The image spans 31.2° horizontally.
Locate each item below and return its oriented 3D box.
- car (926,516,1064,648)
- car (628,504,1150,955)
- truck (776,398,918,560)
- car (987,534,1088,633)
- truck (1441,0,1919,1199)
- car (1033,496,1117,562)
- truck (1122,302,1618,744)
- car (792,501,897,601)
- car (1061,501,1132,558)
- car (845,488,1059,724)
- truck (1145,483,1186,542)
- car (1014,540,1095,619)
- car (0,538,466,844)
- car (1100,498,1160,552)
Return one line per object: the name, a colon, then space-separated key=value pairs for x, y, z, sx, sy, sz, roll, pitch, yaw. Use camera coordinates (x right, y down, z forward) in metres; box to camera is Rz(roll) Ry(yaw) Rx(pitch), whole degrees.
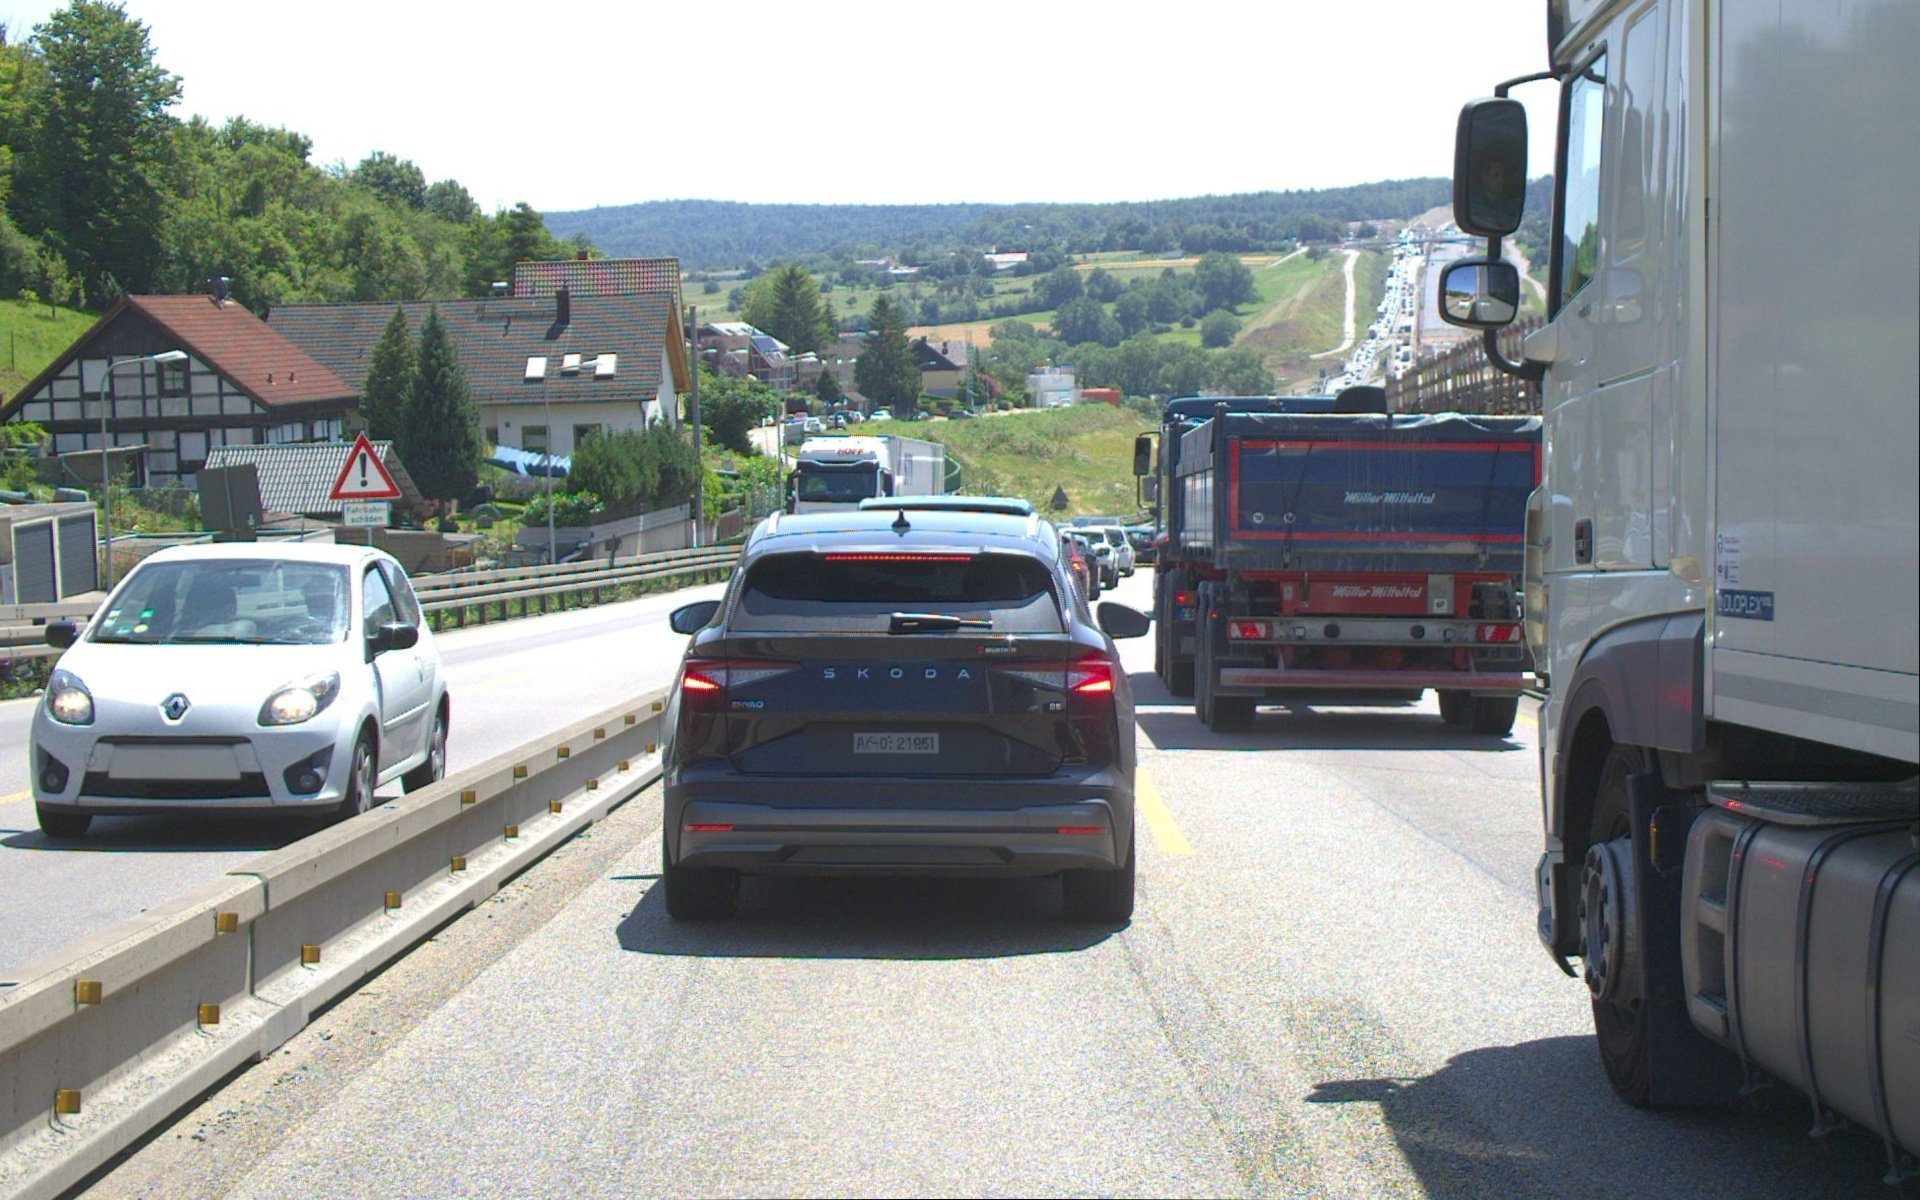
car: x=0.436 y=-0.284 z=46.335 sx=1.707 sy=1.616 sz=4.001 roll=1 pitch=2 yaw=-1
car: x=-0.294 y=0.446 z=14.307 sx=1.842 sy=1.581 sz=3.908 roll=1 pitch=1 yaw=-1
truck: x=-3.160 y=-3.369 z=98.531 sx=3.303 sy=4.347 sz=8.300 roll=1 pitch=1 yaw=3
car: x=1.418 y=-0.324 z=61.832 sx=1.707 sy=1.616 sz=4.000 roll=1 pitch=2 yaw=2
truck: x=2.908 y=-0.664 z=6.607 sx=2.513 sy=4.011 sz=8.238 roll=1 pitch=1 yaw=-2
car: x=2.949 y=-1.785 z=87.381 sx=1.994 sy=1.579 sz=3.836 roll=1 pitch=1 yaw=3
truck: x=3.288 y=-0.623 z=31.477 sx=3.195 sy=3.180 sz=12.809 roll=1 pitch=1 yaw=1
car: x=-2.381 y=-1.010 z=71.685 sx=1.993 sy=2.004 sz=4.858 roll=0 pitch=1 yaw=0
car: x=4.015 y=-2.040 z=100.693 sx=1.994 sy=1.579 sz=3.836 roll=1 pitch=1 yaw=3
car: x=-0.108 y=-0.014 z=30.098 sx=1.707 sy=1.875 sz=4.001 roll=1 pitch=2 yaw=-1
truck: x=15.271 y=-6.503 z=255.199 sx=2.752 sy=4.268 sz=4.956 roll=1 pitch=2 yaw=6
car: x=2.140 y=-0.483 z=76.839 sx=1.707 sy=1.616 sz=4.000 roll=1 pitch=2 yaw=2
car: x=-3.757 y=0.403 z=18.330 sx=1.747 sy=1.421 sz=3.710 roll=0 pitch=2 yaw=-1
car: x=5.776 y=-2.521 z=116.469 sx=1.701 sy=1.722 sz=3.835 roll=1 pitch=1 yaw=7
